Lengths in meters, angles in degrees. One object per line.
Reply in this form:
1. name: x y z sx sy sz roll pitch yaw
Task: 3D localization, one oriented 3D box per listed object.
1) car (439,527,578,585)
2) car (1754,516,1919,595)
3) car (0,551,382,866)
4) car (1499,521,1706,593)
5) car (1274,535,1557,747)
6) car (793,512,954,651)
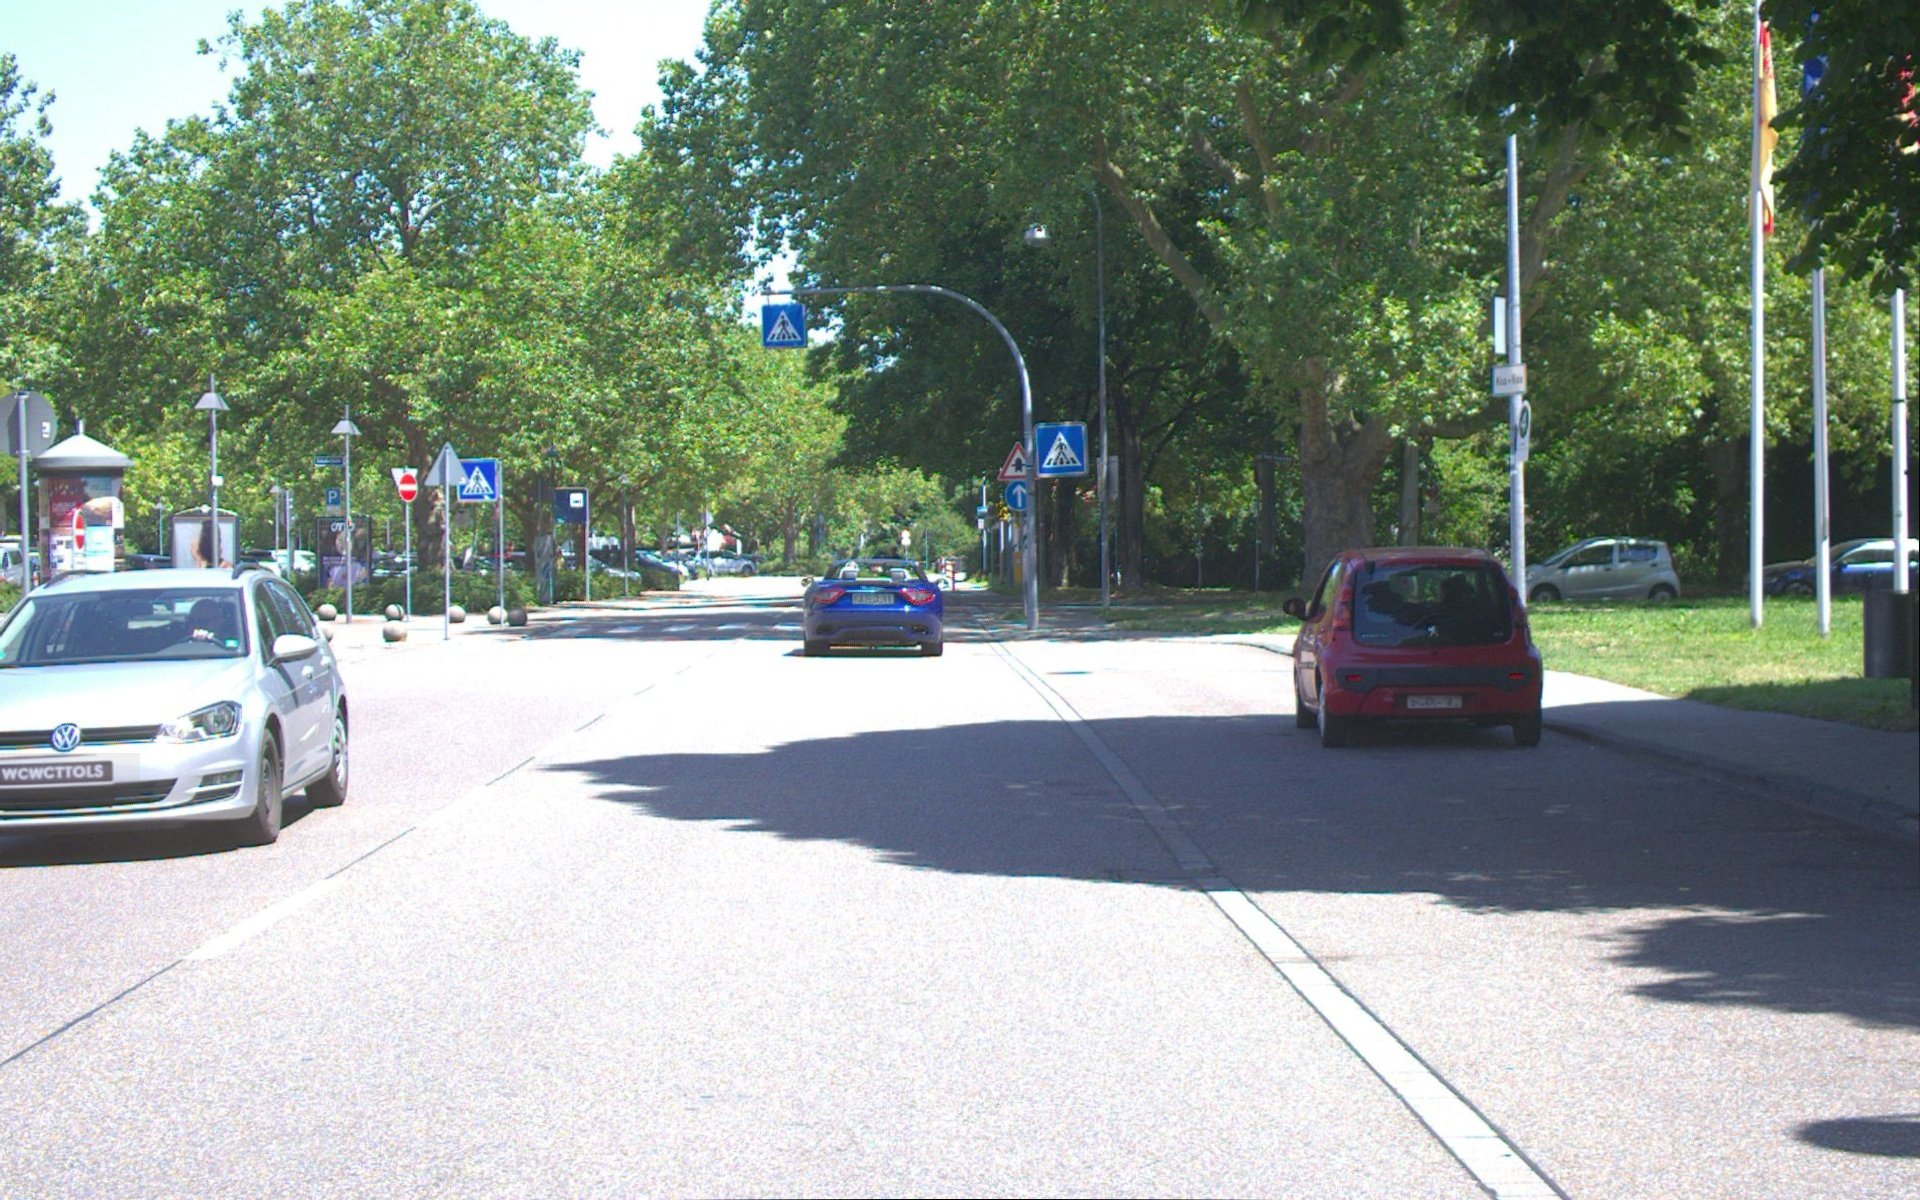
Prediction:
1. car: -14.193 -1.408 108.010 3.986 1.775 2.001 -1 2 -19
2. car: 19.523 -0.965 73.118 4.824 1.602 2.000 -1 1 3
3. car: -4.434 0.511 18.872 1.815 1.439 4.159 -2 2 -1
4. car: 13.717 -0.919 73.531 4.105 1.461 2.000 -1 1 3
5. car: 3.400 0.264 26.263 1.719 1.473 3.706 -1 1 1
6. car: -1.215 -0.263 47.420 2.125 1.842 4.048 0 1 -2
